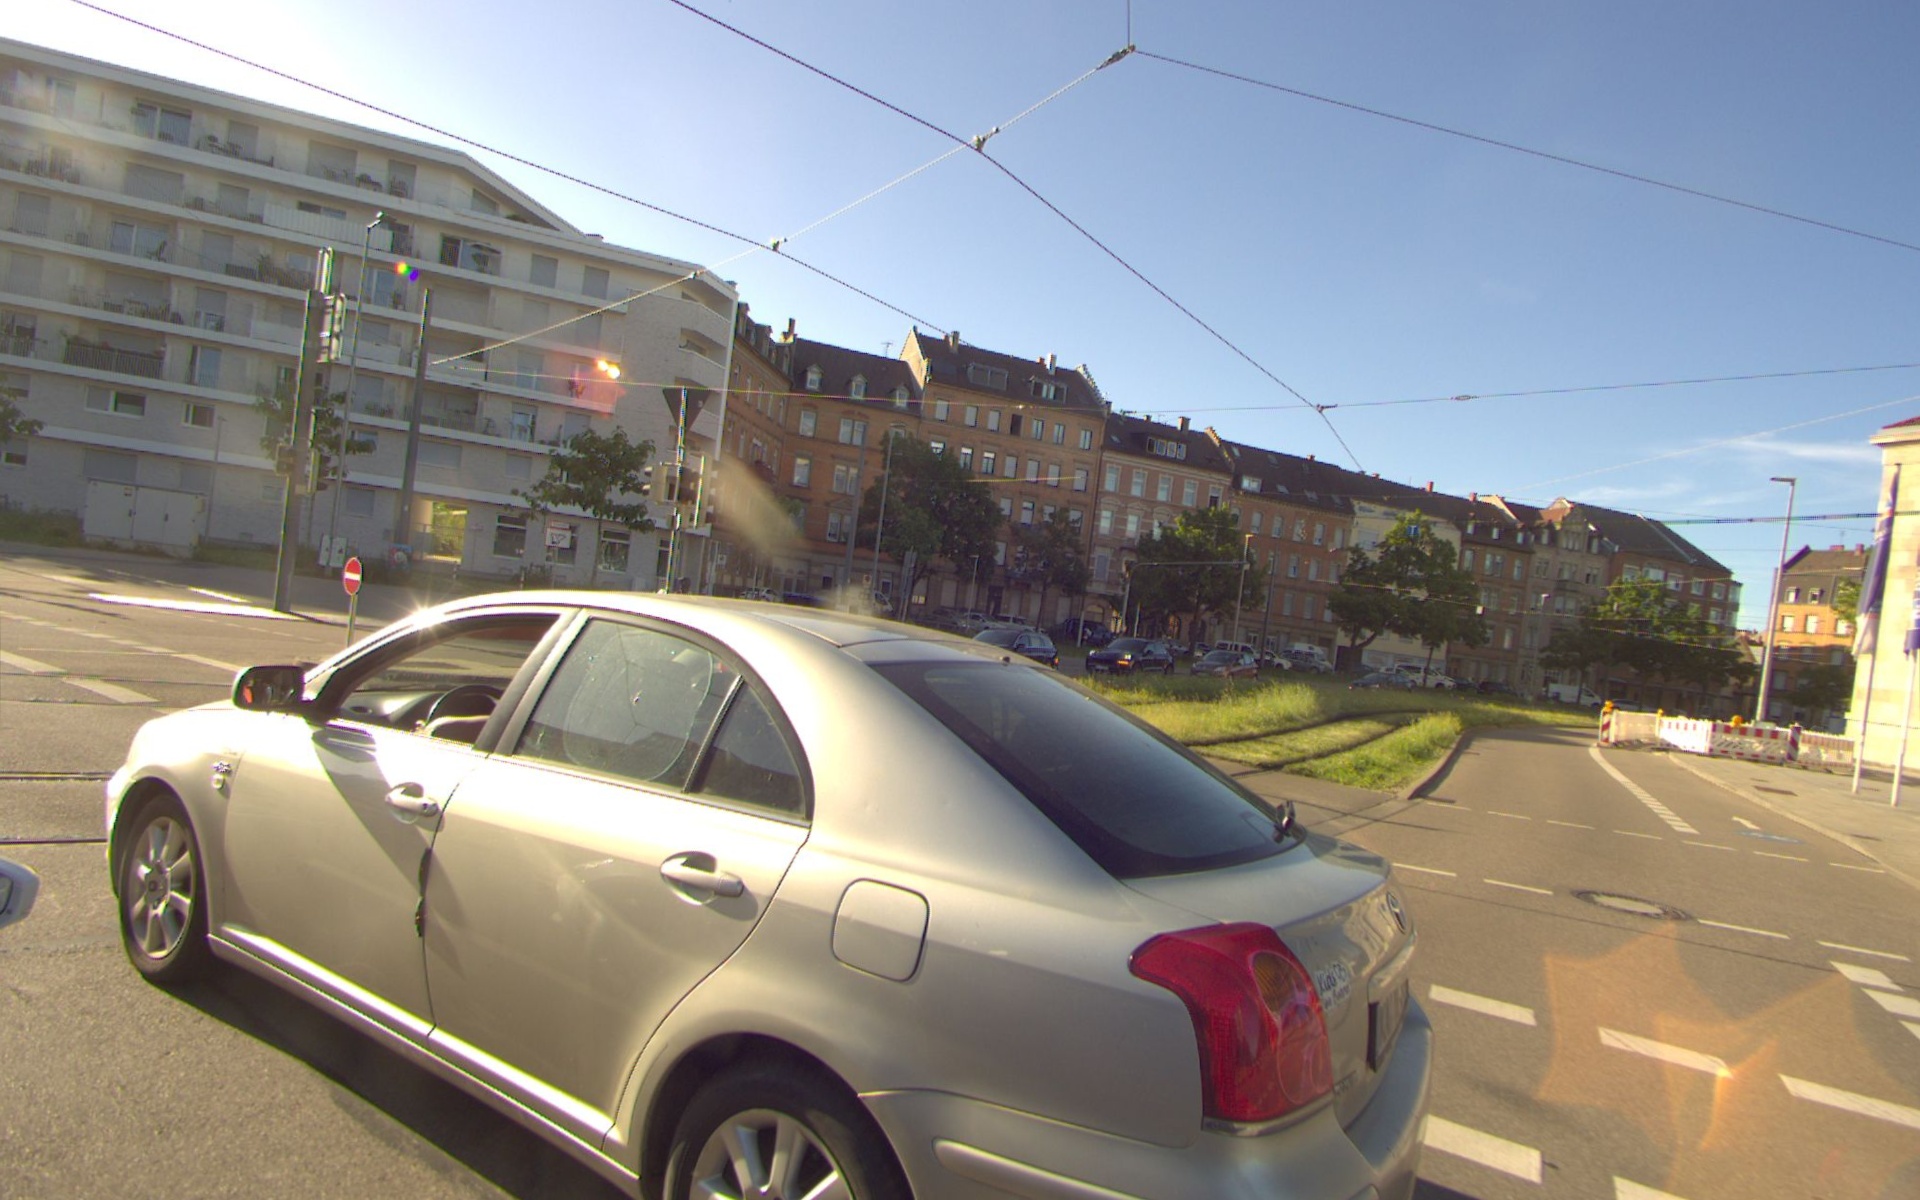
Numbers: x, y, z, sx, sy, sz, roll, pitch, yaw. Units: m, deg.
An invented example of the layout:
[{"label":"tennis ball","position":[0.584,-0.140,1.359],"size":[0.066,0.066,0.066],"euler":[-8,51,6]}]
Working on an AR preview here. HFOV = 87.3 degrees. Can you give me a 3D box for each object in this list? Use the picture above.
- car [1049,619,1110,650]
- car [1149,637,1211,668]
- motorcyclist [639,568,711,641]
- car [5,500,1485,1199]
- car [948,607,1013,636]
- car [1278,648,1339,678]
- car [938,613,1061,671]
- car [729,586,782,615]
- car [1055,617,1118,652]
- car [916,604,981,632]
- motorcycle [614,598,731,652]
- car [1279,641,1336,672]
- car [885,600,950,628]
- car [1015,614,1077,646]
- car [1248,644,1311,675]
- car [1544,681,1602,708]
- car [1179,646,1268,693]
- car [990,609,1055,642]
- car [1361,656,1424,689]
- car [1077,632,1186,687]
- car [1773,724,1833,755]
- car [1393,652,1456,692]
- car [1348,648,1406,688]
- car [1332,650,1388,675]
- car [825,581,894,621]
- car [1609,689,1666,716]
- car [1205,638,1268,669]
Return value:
[{"label":"car","position":[8.774,2.553,74.111],"size":[3.947,1.794,1.989],"euler":[6,0,44]},{"label":"car","position":[16.015,3.808,73.226],"size":[3.931,1.799,1.997],"euler":[6,0,28]},{"label":"motorcyclist","position":[-6.587,0.112,23.272],"size":[1.151,1.499,0.926],"euler":[7,0,28]},{"label":"car","position":[-0.993,0.680,3.229],"size":[4.550,1.499,1.749],"euler":[7,-1,31]},{"label":"car","position":[1.362,1.440,67.952],"size":[3.948,1.504,1.989],"euler":[6,0,44]},{"label":"car","position":[27.047,4.877,78.127],"size":[3.937,1.794,1.994],"euler":[6,0,34]},{"label":"car","position":[1.253,1.283,29.982],"size":[1.741,1.416,4.247],"euler":[3,-3,32]},{"label":"car","position":[-12.747,0.058,62.935],"size":[1.962,1.504,4.001],"euler":[6,0,6]},{"label":"car","position":[10.133,2.766,80.588],"size":[4.349,2.217,1.991],"euler":[6,0,-20]},{"label":"car","position":[-0.787,1.183,66.832],"size":[3.948,1.371,1.989],"euler":[6,0,44]},{"label":"motorcycle","position":[-6.622,0.605,23.319],"size":[1.151,1.012,2.458],"euler":[7,-1,28]},{"label":"car","position":[30.557,4.957,88.527],"size":[4.119,2.217,1.996],"euler":[6,0,-11]},{"label":"car","position":[-2.812,0.922,65.515],"size":[3.948,1.371,1.989],"euler":[6,0,44]},{"label":"car","position":[6.134,2.143,72.312],"size":[3.948,1.794,1.988],"euler":[6,0,44]},{"label":"car","position":[24.150,4.493,76.069],"size":[3.937,1.794,1.994],"euler":[6,0,34]},{"label":"car","position":[53.946,8.279,88.551],"size":[3.941,1.794,1.992],"euler":[6,0,39]},{"label":"car","position":[11.746,3.116,44.738],"size":[1.974,1.637,4.078],"euler":[7,-1,44]},{"label":"car","position":[4.287,1.714,69.167],"size":[3.948,1.794,1.988],"euler":[6,0,44]},{"label":"car","position":[34.481,5.766,80.208],"size":[3.943,1.795,1.989],"euler":[12,4,42]},{"label":"car","position":[6.443,2.249,37.479],"size":[1.970,1.638,4.525],"euler":[7,0,38]},{"label":"car","position":[63.721,10.531,76.046],"size":[3.954,1.725,1.987],"euler":[9,-2,-27]},{"label":"car","position":[37.848,5.847,82.030],"size":[3.943,2.439,1.989],"euler":[13,5,42]},{"label":"car","position":[23.938,3.922,57.717],"size":[1.970,2.039,3.985],"euler":[6,0,37]},{"label":"car","position":[35.918,5.584,90.287],"size":[4.349,1.743,1.991],"euler":[6,0,-20]},{"label":"car","position":[-7.366,0.069,73.689],"size":[4.534,2.339,1.993],"euler":[7,0,-17]},{"label":"car","position":[60.609,9.139,90.062],"size":[3.941,1.794,1.992],"euler":[6,0,39]},{"label":"car","position":[20.485,3.977,74.591],"size":[3.937,1.794,1.994],"euler":[6,0,34]}]
